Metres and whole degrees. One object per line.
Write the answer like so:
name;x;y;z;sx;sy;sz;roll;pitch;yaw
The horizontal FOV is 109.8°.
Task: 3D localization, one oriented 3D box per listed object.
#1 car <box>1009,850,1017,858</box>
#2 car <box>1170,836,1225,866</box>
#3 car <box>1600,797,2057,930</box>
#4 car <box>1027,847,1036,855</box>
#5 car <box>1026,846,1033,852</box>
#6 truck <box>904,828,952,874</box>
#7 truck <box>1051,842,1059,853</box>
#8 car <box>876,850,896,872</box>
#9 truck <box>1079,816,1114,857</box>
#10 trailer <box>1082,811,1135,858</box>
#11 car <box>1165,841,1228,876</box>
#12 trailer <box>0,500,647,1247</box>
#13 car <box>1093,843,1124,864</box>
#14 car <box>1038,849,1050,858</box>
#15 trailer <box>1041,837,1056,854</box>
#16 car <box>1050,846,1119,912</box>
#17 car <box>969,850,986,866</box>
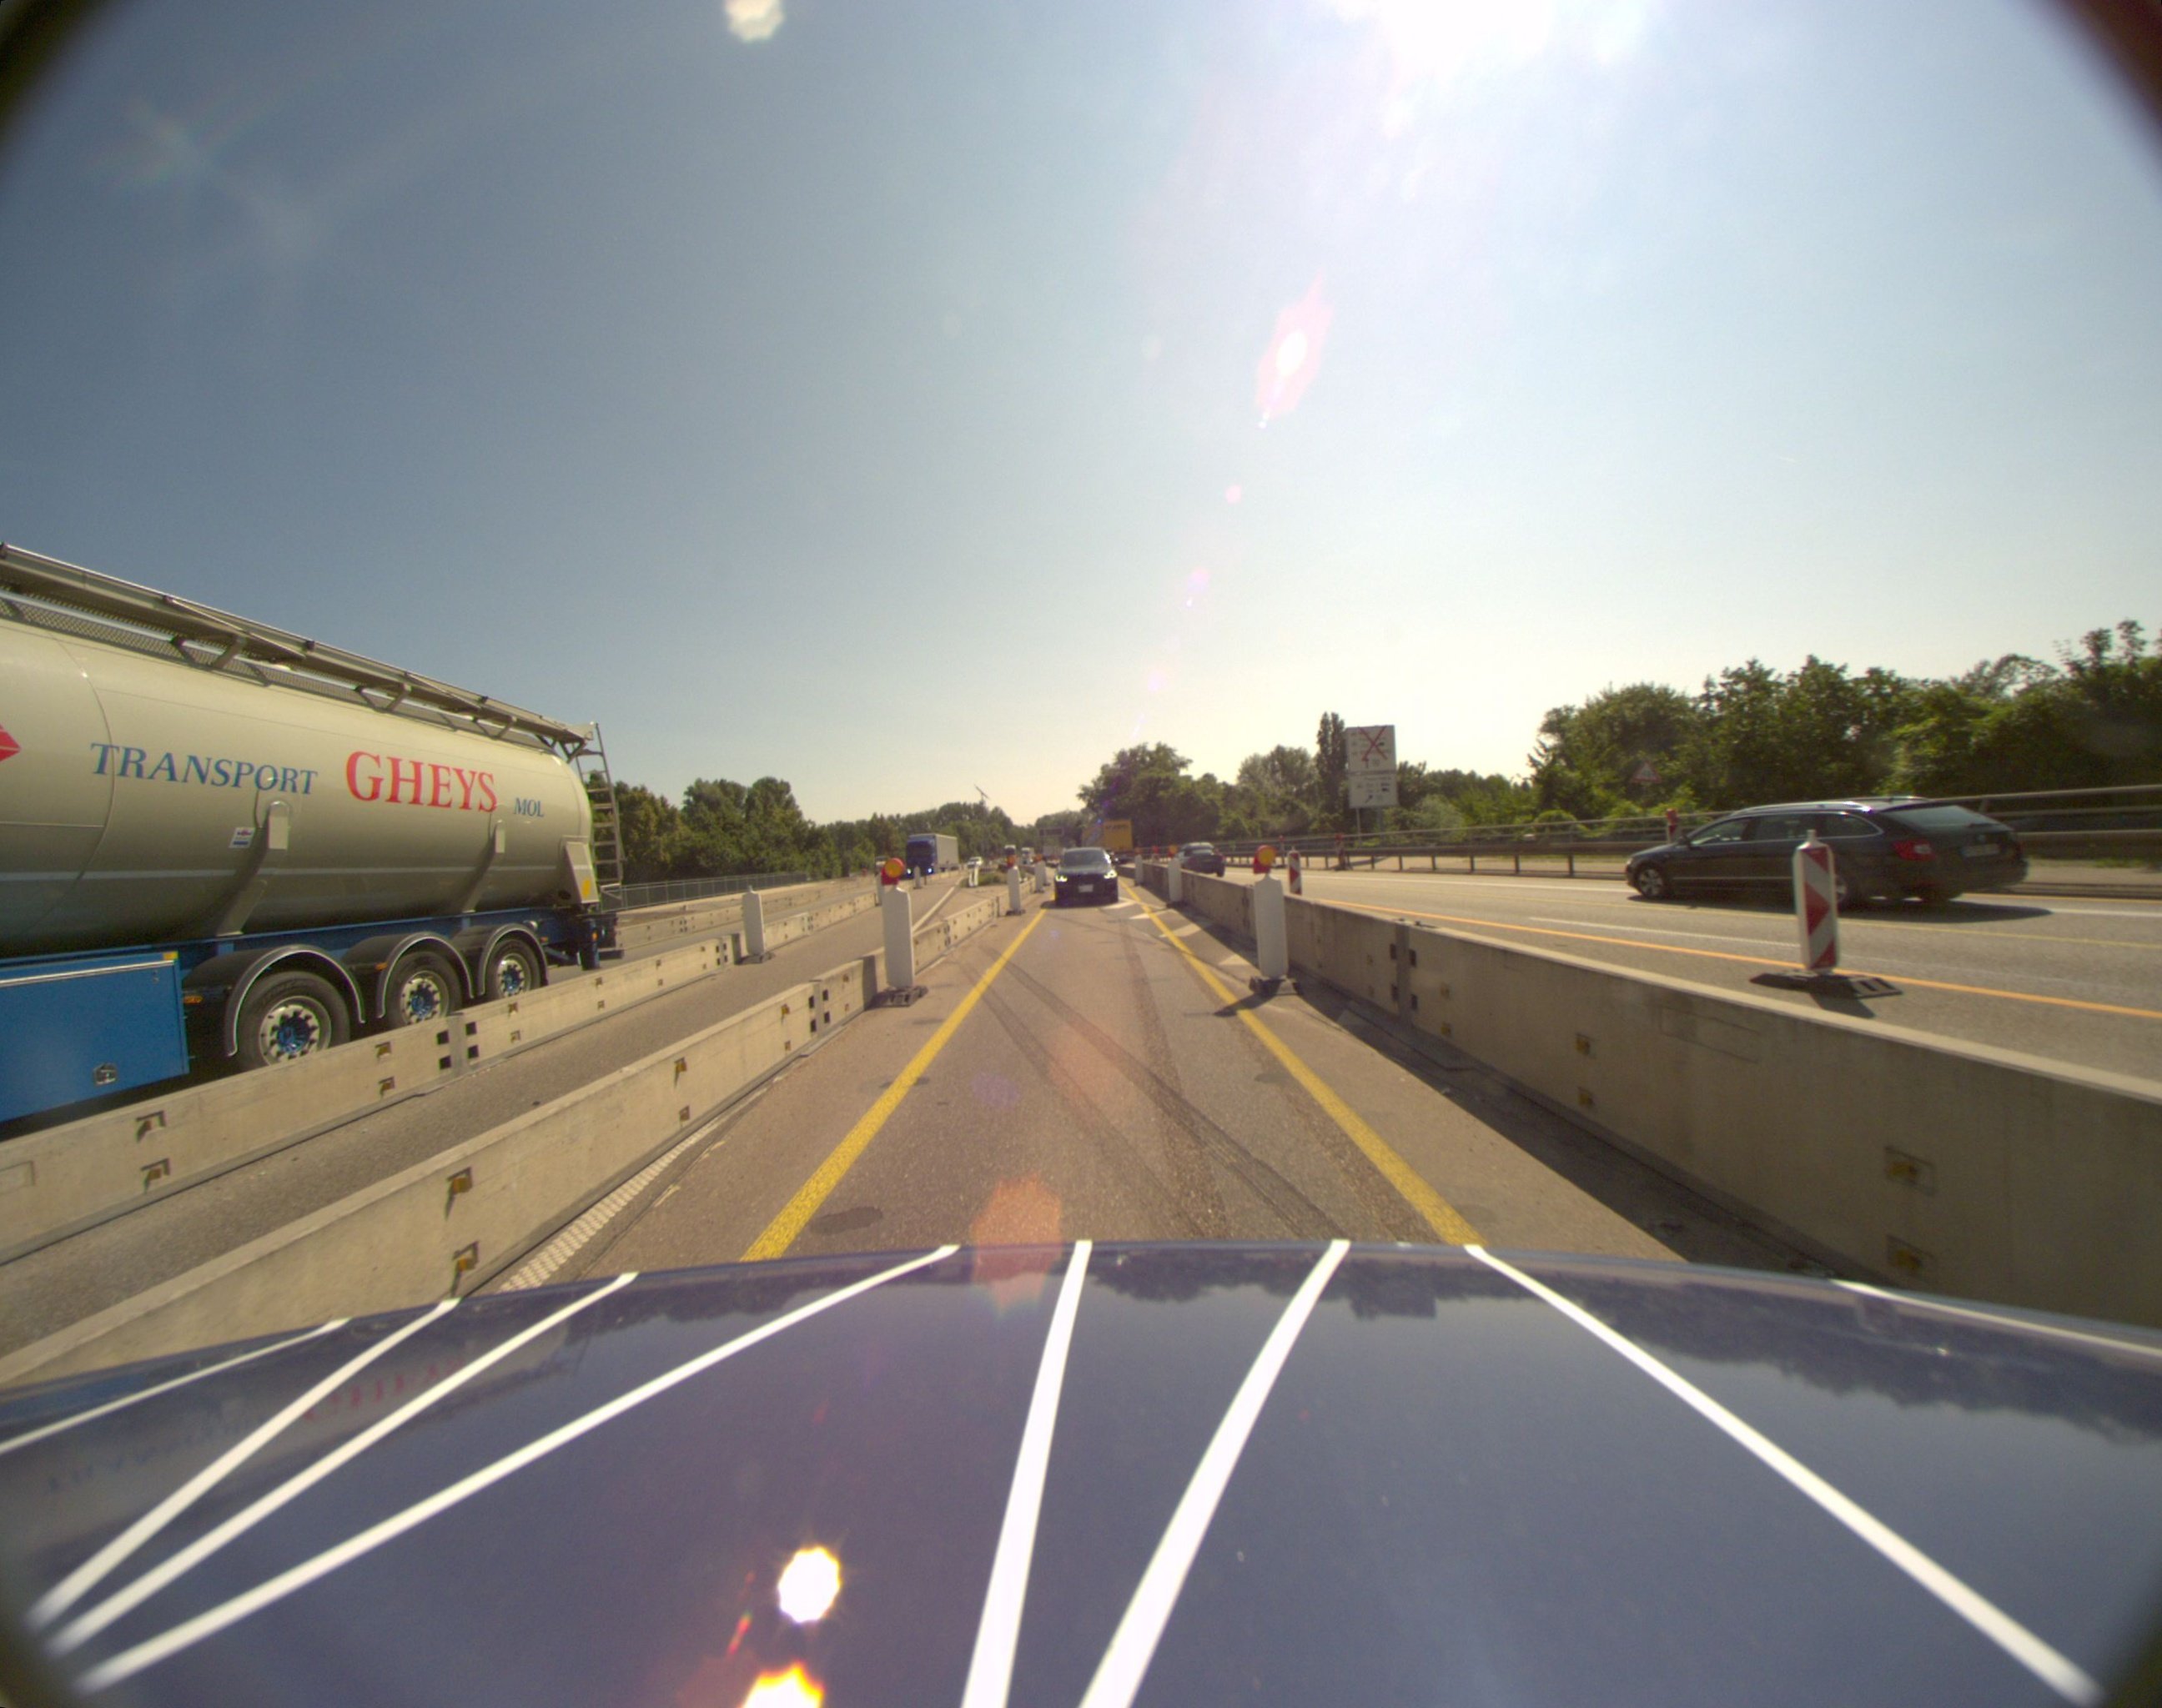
car;-15.376;0.042;172.059;1.748;1.621;4.090;-3;1;-3
car;6.691;-0.164;44.196;1.938;1.499;4.465;-4;1;-7
car;10.556;0.084;11.461;1.672;1.434;4.994;-5;1;-5
car;-14.168;-0.837;217.563;1.999;2.002;3.999;-3;1;-1
car;-16.472;-1.577;242.381;1.999;2.002;3.999;-3;1;-1
truck;-14.385;-0.336;72.239;2.861;3.962;8.662;-3;1;-2
truck;-7.909;-2.045;230.843;1.868;3.188;6.809;-4;1;-6
car;-25.927;0.907;101.004;2.111;2.627;5.978;-4;1;-12
truck;1.599;-1.893;82.104;2.758;4.113;6.411;-4;1;-6
trailer;2.474;-1.810;75.183;2.769;4.113;14.521;-4;1;-7
car;5.151;0.195;34.541;1.694;1.368;4.270;-4;1;-6
trailer;-7.420;0.133;5.174;2.702;4.113;12.605;-4;1;-6
car;2.162;-0.055;60.909;1.796;1.559;3.870;-4;1;-7
car;-6.822;-0.095;139.091;1.868;1.622;4.563;-4;1;-6
trailer;-8.377;-2.050;193.993;2.812;4.019;13.460;-4;0;-6
car;0.028;0.692;23.780;1.789;1.651;4.485;-6;1;-2
car;-14.227;0.525;104.459;1.999;2.002;3.997;-4;1;-6
